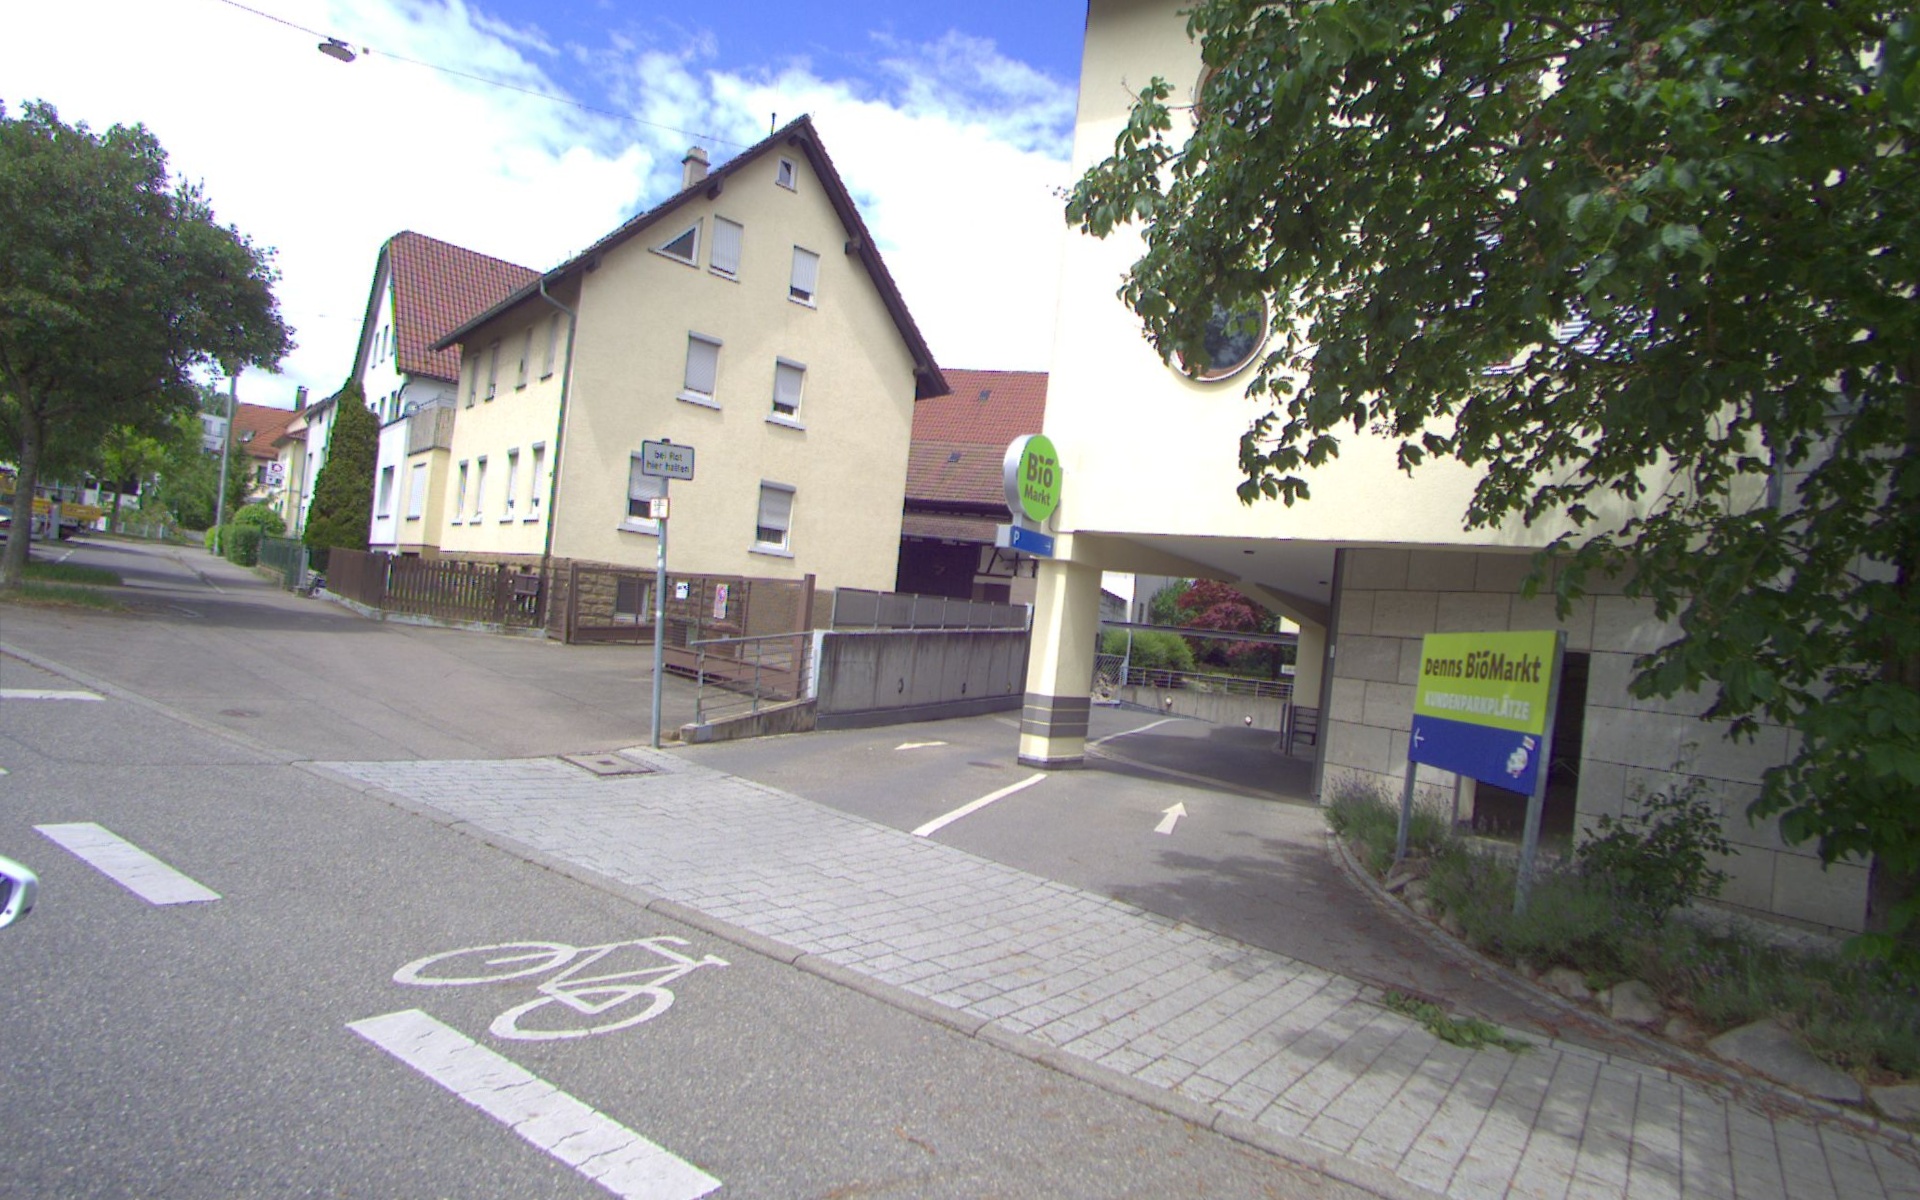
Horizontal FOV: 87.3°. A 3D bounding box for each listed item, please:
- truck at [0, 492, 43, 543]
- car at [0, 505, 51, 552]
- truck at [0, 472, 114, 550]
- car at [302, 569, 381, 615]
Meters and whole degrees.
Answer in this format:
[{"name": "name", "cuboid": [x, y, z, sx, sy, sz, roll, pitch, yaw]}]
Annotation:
[{"name": "truck", "cuboid": [-46.373, -4.177, 46.552, 5.577, 2.035, 2.001, 8, -3, -4]}, {"name": "car", "cuboid": [-35.910, -2.866, 36.153, 4.604, 1.468, 1.769, 8, -2, -2]}, {"name": "truck", "cuboid": [-46.446, -4.580, 49.539, 6.588, 3.040, 2.772, 8, -3, -4]}, {"name": "car", "cuboid": [-19.312, -0.265, 31.364, 1.457, 1.136, 3.831, 11, -5, -39]}]
